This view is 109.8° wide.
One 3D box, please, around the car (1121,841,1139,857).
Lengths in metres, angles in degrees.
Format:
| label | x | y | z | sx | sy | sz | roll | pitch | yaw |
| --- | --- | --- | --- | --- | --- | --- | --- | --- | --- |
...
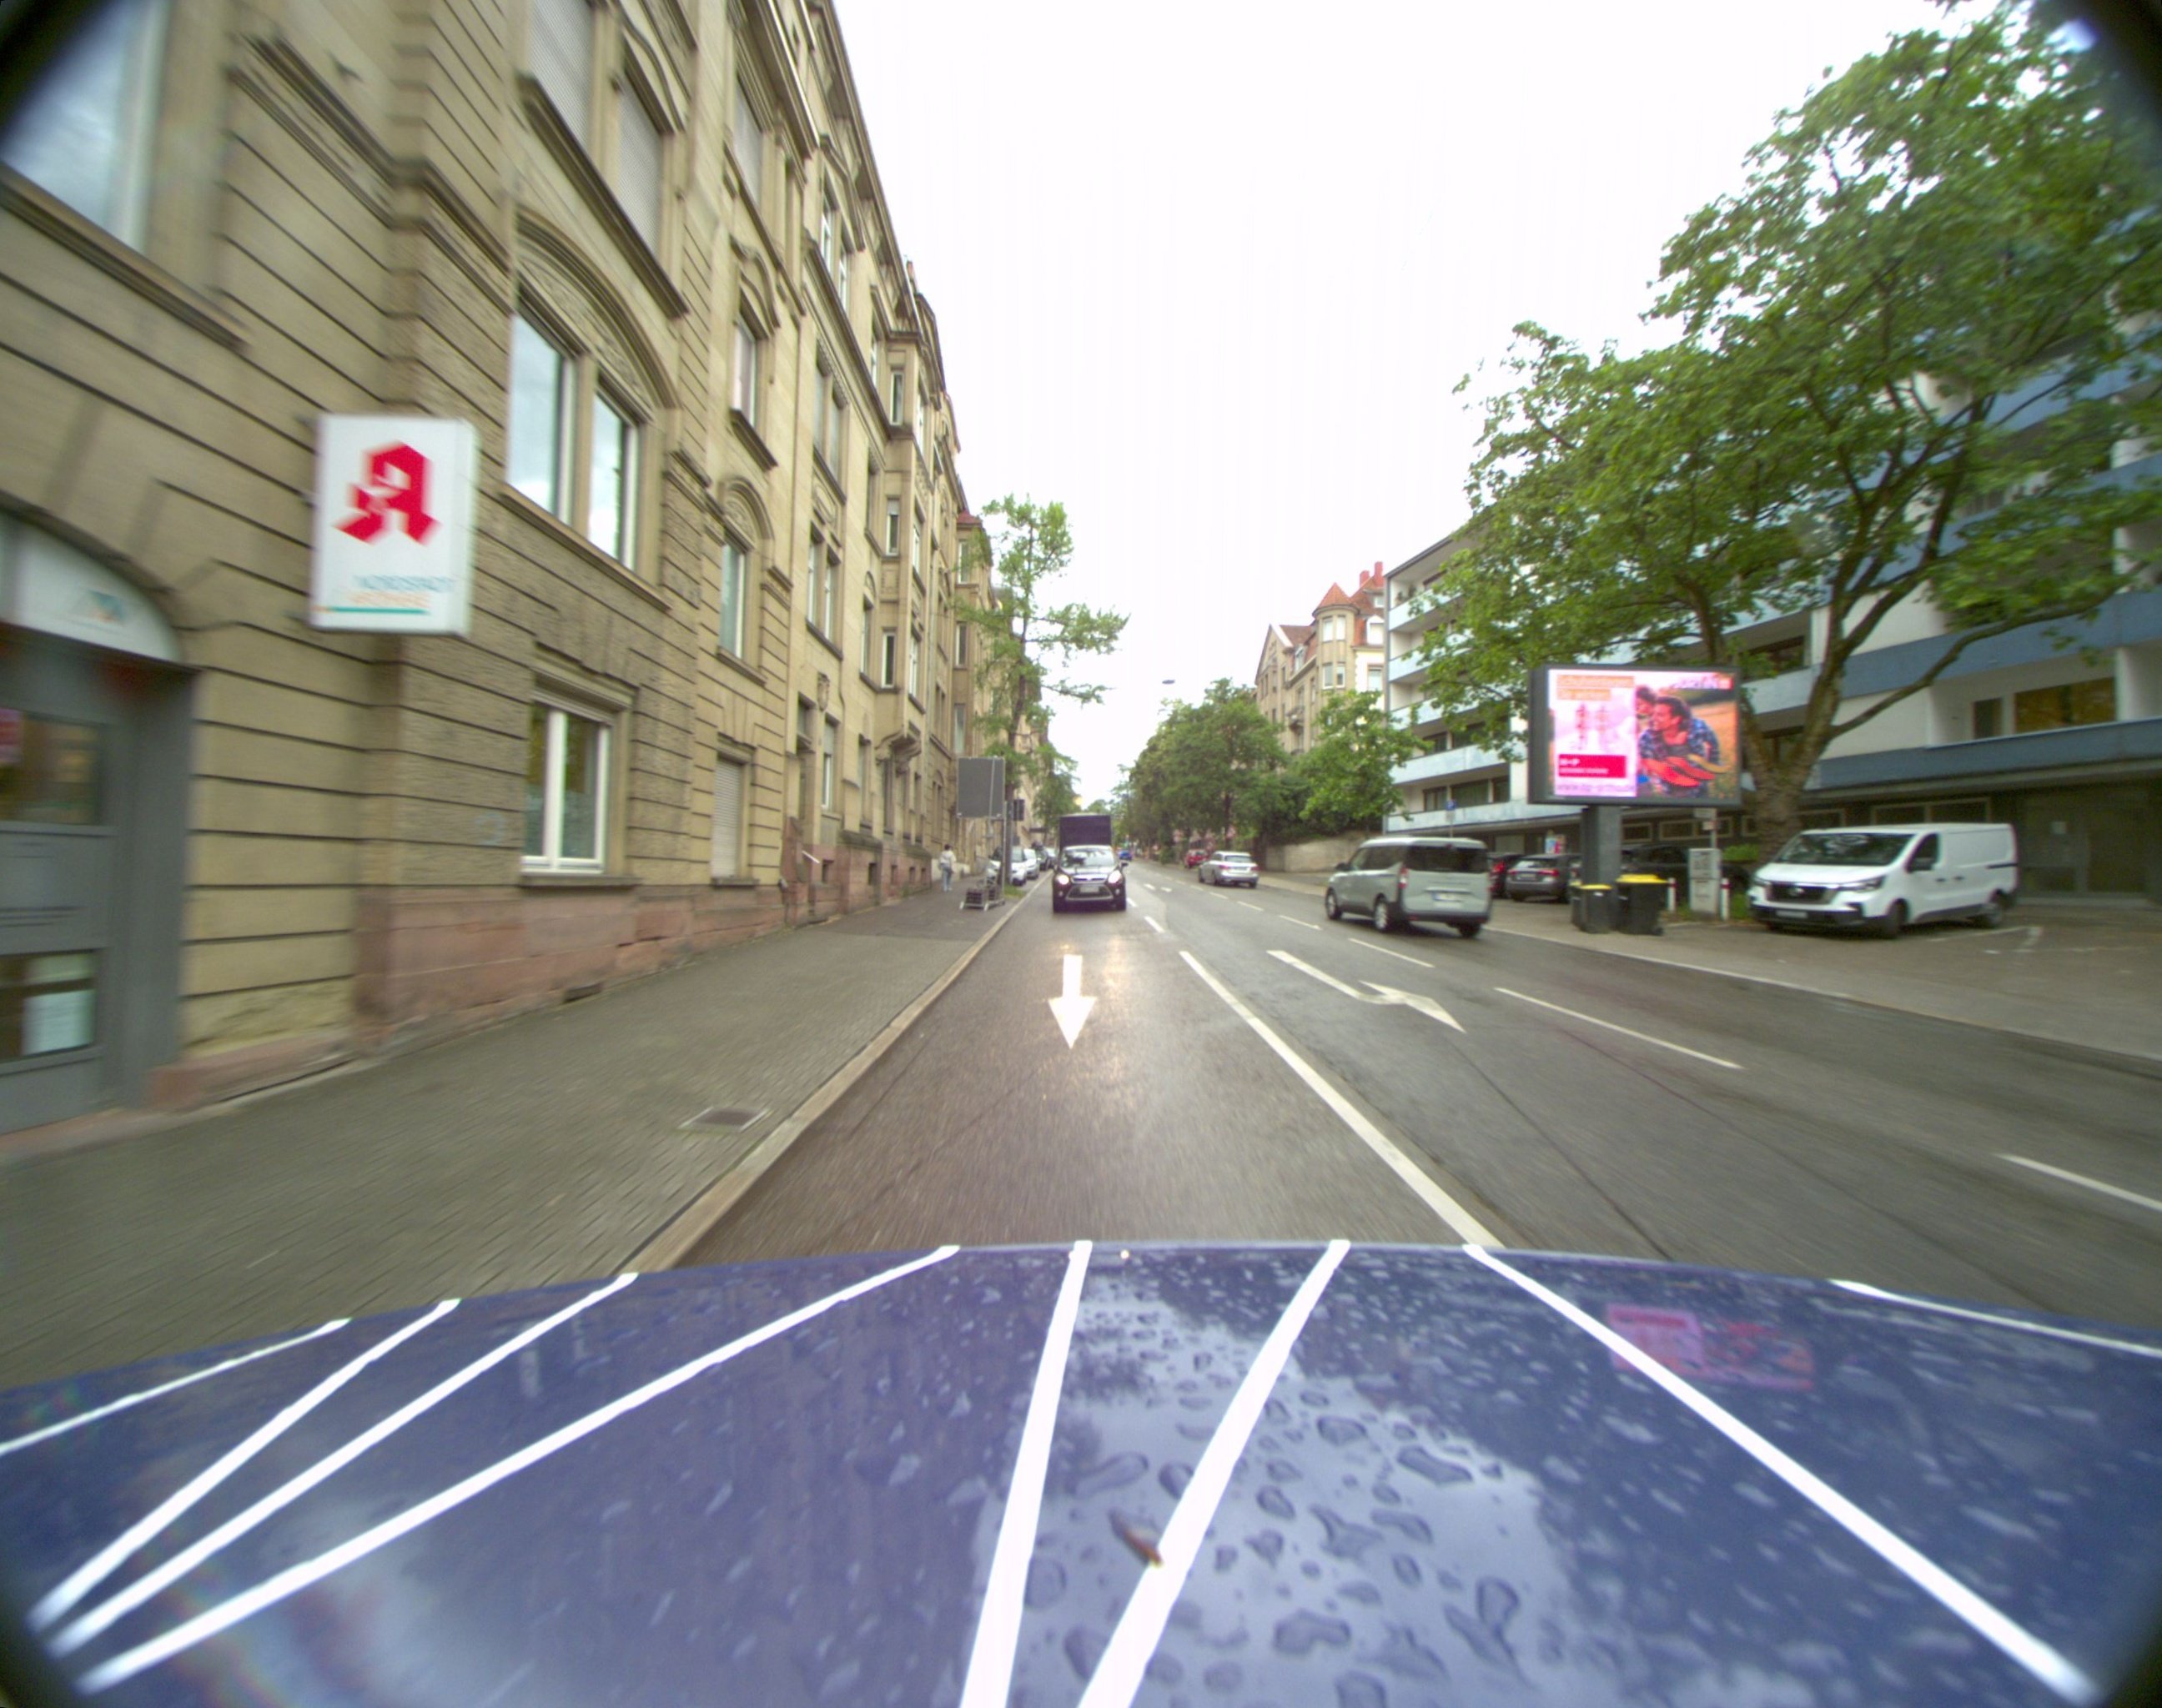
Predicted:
| label | x | y | z | sx | sy | sz | roll | pitch | yaw |
| --- | --- | --- | --- | --- | --- | --- | --- | --- | --- |
| car | 5.523 | -0.569 | 85.626 | 1.794 | 1.655 | 3.886 | 3 | 1 | 1 |

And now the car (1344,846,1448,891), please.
| label | x | y | z | sx | sy | sz | roll | pitch | yaw |
| --- | --- | --- | --- | --- | --- | --- | --- | --- | --- |
| car | 12.498 | 0.541 | 30.136 | 3.841 | 1.523 | 1.767 | -3 | 2 | -28 |

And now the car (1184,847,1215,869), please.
| label | x | y | z | sx | sy | sz | roll | pitch | yaw |
| --- | --- | --- | --- | --- | --- | --- | --- | --- | --- |
| car | 8.998 | 0.284 | 57.940 | 1.752 | 1.497 | 3.886 | 3 | 1 | 2 |

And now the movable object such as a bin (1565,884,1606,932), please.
| label | x | y | z | sx | sy | sz | roll | pitch | yaw |
| --- | --- | --- | --- | --- | --- | --- | --- | --- | --- |
| movable object such as a bin | 10.421 | 1.109 | 15.707 | 0.485 | 0.958 | 0.512 | 0 | 1 | -3 |

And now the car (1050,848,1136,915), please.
| label | x | y | z | sx | sy | sz | roll | pitch | yaw |
| --- | --- | --- | --- | --- | --- | --- | --- | --- | --- |
| car | 0.407 | 0.628 | 19.359 | 1.861 | 1.503 | 3.684 | 1 | 0 | 6 |

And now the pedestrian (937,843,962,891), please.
| label | x | y | z | sx | sy | sz | roll | pitch | yaw |
| --- | --- | --- | --- | --- | --- | --- | --- | --- | --- |
| pedestrian | -4.279 | 0.421 | 24.701 | 0.645 | 1.489 | 0.690 | 3 | 4 | -1 |

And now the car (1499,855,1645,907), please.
| label | x | y | z | sx | sy | sz | roll | pitch | yaw |
| --- | --- | --- | --- | --- | --- | --- | --- | --- | --- |
| car | 14.466 | 0.740 | 22.392 | 3.840 | 1.397 | 1.688 | -1 | 1 | -21 |

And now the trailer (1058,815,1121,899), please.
| label | x | y | z | sx | sy | sz | roll | pitch | yaw |
| --- | --- | --- | --- | --- | --- | --- | --- | --- | --- |
| trailer | 0.311 | 0.110 | 26.061 | 1.938 | 2.621 | 4.684 | -1 | 0 | 1 |

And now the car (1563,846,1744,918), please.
| label | x | y | z | sx | sy | sz | roll | pitch | yaw |
| --- | --- | --- | --- | --- | --- | --- | --- | --- | --- |
| car | 14.541 | 0.647 | 19.340 | 3.839 | 1.680 | 1.803 | 0 | 1 | -19 |

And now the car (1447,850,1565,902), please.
| label | x | y | z | sx | sy | sz | roll | pitch | yaw |
| --- | --- | --- | --- | --- | --- | --- | --- | --- | --- |
| car | 14.045 | 0.668 | 25.073 | 3.842 | 1.398 | 1.676 | -3 | 2 | -31 |

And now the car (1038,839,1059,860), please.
| label | x | y | z | sx | sy | sz | roll | pitch | yaw |
| --- | --- | --- | --- | --- | --- | --- | --- | --- | --- |
| car | -2.864 | -0.377 | 67.355 | 1.547 | 1.700 | 3.762 | 4 | 1 | 0 |

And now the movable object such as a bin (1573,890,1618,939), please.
| label | x | y | z | sx | sy | sz | roll | pitch | yaw |
| --- | --- | --- | --- | --- | --- | --- | --- | --- | --- |
| movable object such as a bin | 9.879 | 1.152 | 14.596 | 0.485 | 0.896 | 0.546 | 0 | 1 | -3 |

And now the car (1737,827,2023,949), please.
| label | x | y | z | sx | sy | sz | roll | pitch | yaw |
| --- | --- | --- | --- | --- | --- | --- | --- | --- | --- |
| car | 15.010 | 0.531 | 14.283 | 4.981 | 1.966 | 1.877 | -1 | 1 | -20 |

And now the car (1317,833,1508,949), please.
| label | x | y | z | sx | sy | sz | roll | pitch | yaw |
| --- | --- | --- | --- | --- | --- | --- | --- | --- | --- |
| car | 6.368 | 0.620 | 15.193 | 1.818 | 1.870 | 4.241 | 4 | 1 | 0 |

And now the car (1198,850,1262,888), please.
| label | x | y | z | sx | sy | sz | roll | pitch | yaw |
| --- | --- | --- | --- | --- | --- | --- | --- | --- | --- |
| car | 6.244 | 0.585 | 32.342 | 1.731 | 1.440 | 4.324 | 3 | 1 | -1 |

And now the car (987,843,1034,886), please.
| label | x | y | z | sx | sy | sz | roll | pitch | yaw |
| --- | --- | --- | --- | --- | --- | --- | --- | --- | --- |
| car | -2.891 | 0.395 | 31.692 | 1.526 | 1.608 | 3.493 | 4 | 1 | 0 |

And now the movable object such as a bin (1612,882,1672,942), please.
| label | x | y | z | sx | sy | sz | roll | pitch | yaw |
| --- | --- | --- | --- | --- | --- | --- | --- | --- | --- |
| movable object such as a bin | 10.514 | 1.075 | 14.259 | 0.643 | 1.073 | 0.627 | 0 | 1 | -3 |

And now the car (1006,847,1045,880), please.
| label | x | y | z | sx | sy | sz | roll | pitch | yaw |
| --- | --- | --- | --- | --- | --- | --- | --- | --- | --- |
| car | -2.687 | 0.430 | 37.459 | 1.547 | 1.478 | 3.762 | 4 | 1 | 0 |

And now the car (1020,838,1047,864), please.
| label | x | y | z | sx | sy | sz | roll | pitch | yaw |
| --- | --- | --- | --- | --- | --- | --- | --- | --- | --- |
| car | -3.300 | -0.216 | 53.540 | 1.547 | 1.700 | 3.762 | 4 | 1 | 0 |
